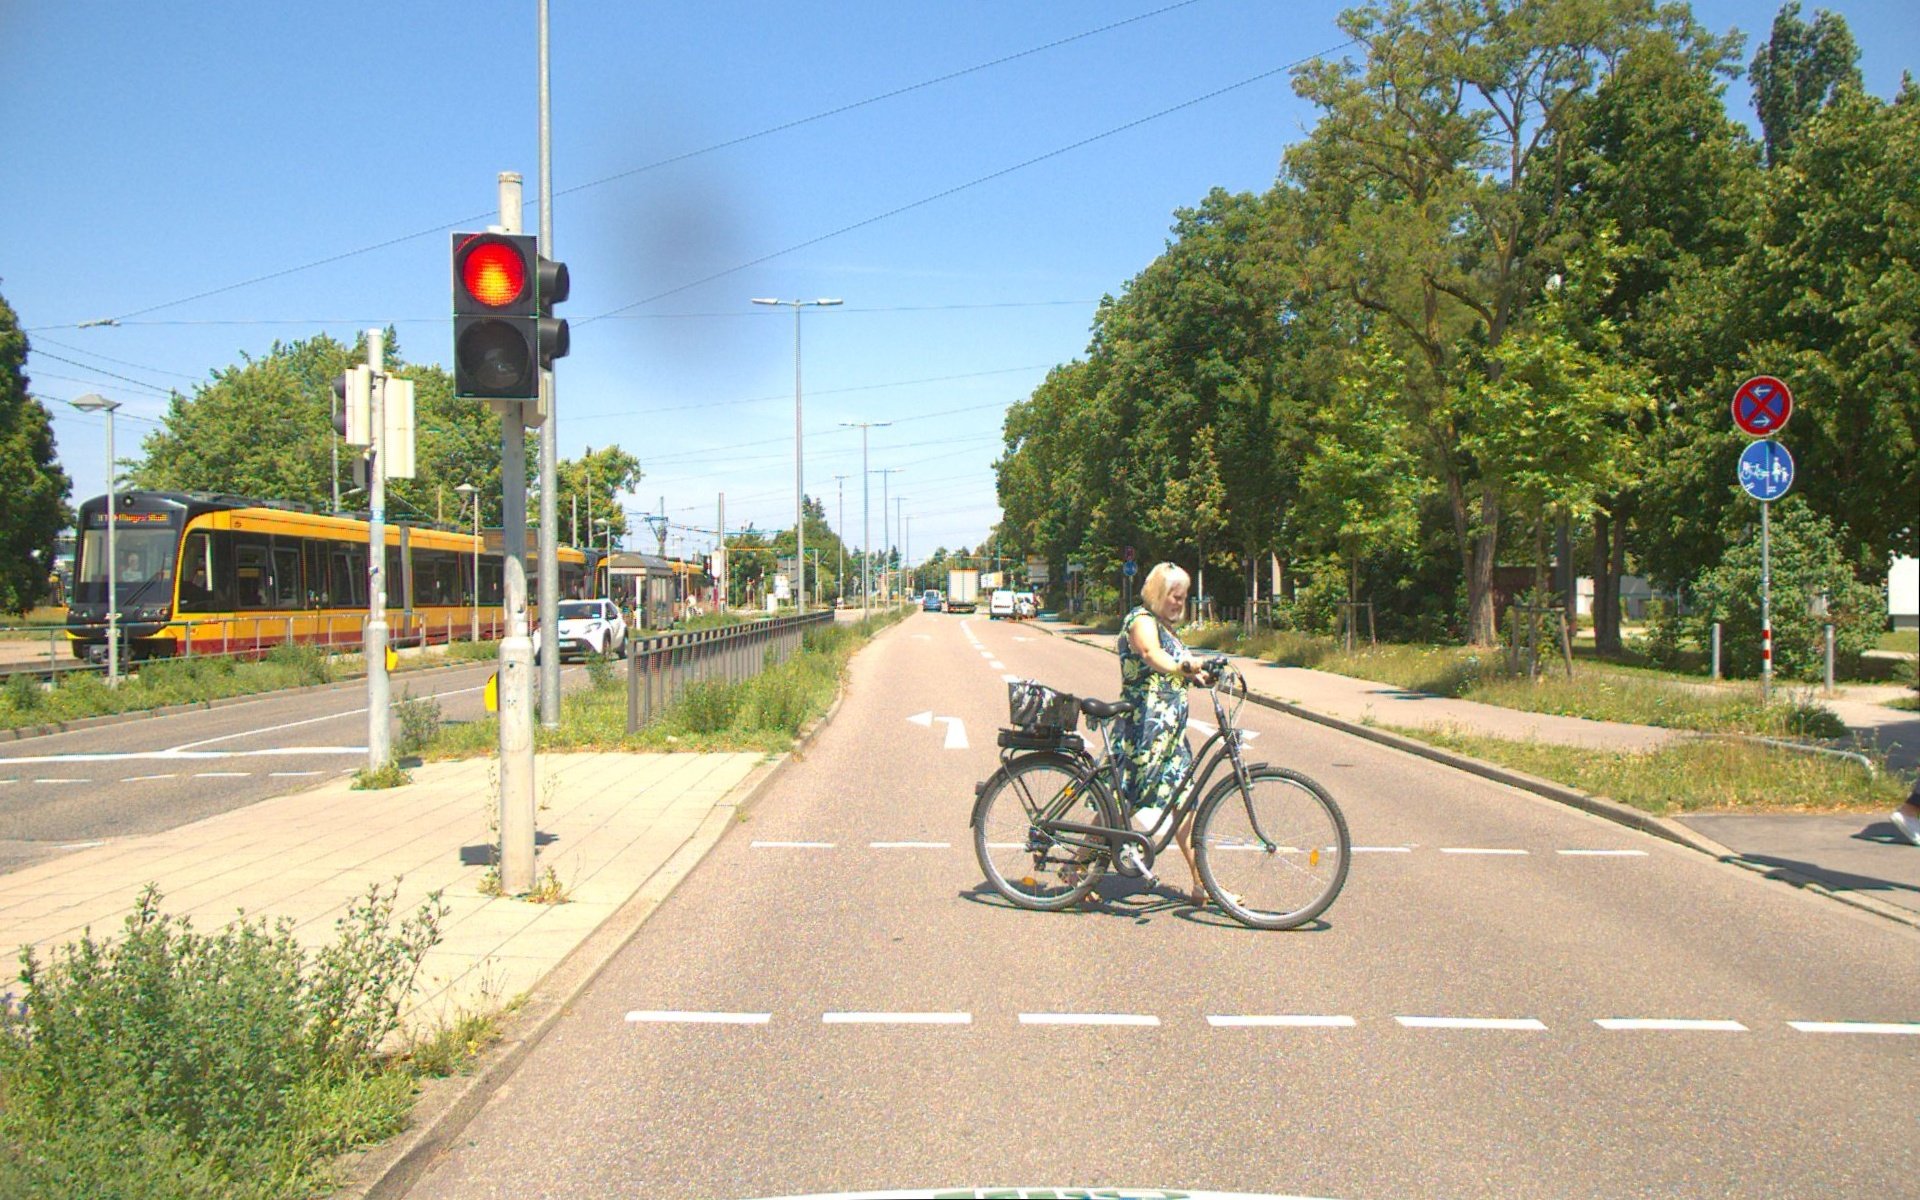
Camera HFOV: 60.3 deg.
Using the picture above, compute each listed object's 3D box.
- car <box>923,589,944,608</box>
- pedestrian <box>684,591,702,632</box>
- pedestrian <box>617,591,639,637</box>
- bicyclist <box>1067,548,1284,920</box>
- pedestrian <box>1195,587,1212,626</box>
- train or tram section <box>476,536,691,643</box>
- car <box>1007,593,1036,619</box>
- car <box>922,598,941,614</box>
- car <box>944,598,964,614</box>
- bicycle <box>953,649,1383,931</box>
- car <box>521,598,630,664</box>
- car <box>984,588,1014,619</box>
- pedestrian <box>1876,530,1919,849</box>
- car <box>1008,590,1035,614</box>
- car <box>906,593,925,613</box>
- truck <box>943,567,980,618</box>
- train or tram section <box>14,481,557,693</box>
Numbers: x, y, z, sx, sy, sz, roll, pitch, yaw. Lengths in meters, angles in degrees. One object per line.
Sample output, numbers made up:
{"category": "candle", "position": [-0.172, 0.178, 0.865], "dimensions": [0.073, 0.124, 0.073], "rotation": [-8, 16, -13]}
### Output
{"category": "car", "position": [-2.612, -0.136, 163.410], "dimensions": [1.953, 1.847, 3.999], "rotation": [1, 0, -1]}
{"category": "pedestrian", "position": [-13.469, 0.583, 83.435], "dimensions": [0.798, 2.049, 0.938], "rotation": [0, 0, -1]}
{"category": "pedestrian", "position": [-13.853, 0.587, 69.076], "dimensions": [0.769, 1.901, 0.817], "rotation": [0, 0, -1]}
{"category": "bicyclist", "position": [1.044, 0.606, 7.944], "dimensions": [0.937, 1.696, 0.581], "rotation": [0, 1, 17]}
{"category": "pedestrian", "position": [9.201, 0.250, 62.436], "dimensions": [0.591, 1.463, 0.556], "rotation": [0, 0, 6]}
{"category": "train or tram section", "position": [-16.329, -0.436, 76.497], "dimensions": [2.871, 3.856, 33.081], "rotation": [0, 0, -1]}
{"category": "car", "position": [4.178, 0.390, 112.498], "dimensions": [1.743, 1.698, 3.999], "rotation": [0, 0, -1]}
{"category": "car", "position": [-2.703, 0.533, 157.764], "dimensions": [1.774, 1.490, 3.999], "rotation": [0, 0, -1]}
{"category": "car", "position": [-0.594, 0.551, 153.595], "dimensions": [1.774, 1.490, 3.999], "rotation": [0, 0, -1]}
{"category": "bicycle", "position": [0.967, 0.841, 7.713], "dimensions": [1.916, 1.181, 0.541], "rotation": [0, 1, 17]}
{"category": "car", "position": [-9.254, 0.716, 40.085], "dimensions": [1.807, 1.521, 3.790], "rotation": [0, 0, -1]}
{"category": "car", "position": [2.450, 0.213, 105.544], "dimensions": [1.743, 1.937, 3.999], "rotation": [0, 0, -1]}
{"category": "pedestrian", "position": [6.020, 0.490, 9.534], "dimensions": [1.164, 1.809, 0.837], "rotation": [-3, -2, 34]}
{"category": "car", "position": [4.403, 0.109, 118.849], "dimensions": [1.743, 1.698, 3.999], "rotation": [0, 0, -1]}
{"category": "car", "position": [-4.701, 0.319, 175.084], "dimensions": [1.953, 2.049, 3.999], "rotation": [0, 0, -1]}
{"category": "truck", "position": [0.067, -0.653, 146.117], "dimensions": [3.140, 4.435, 6.559], "rotation": [0, 0, -1]}
{"category": "train or tram section", "position": [-15.870, -0.300, 44.976], "dimensions": [2.897, 3.815, 30.027], "rotation": [0, 0, -1]}
